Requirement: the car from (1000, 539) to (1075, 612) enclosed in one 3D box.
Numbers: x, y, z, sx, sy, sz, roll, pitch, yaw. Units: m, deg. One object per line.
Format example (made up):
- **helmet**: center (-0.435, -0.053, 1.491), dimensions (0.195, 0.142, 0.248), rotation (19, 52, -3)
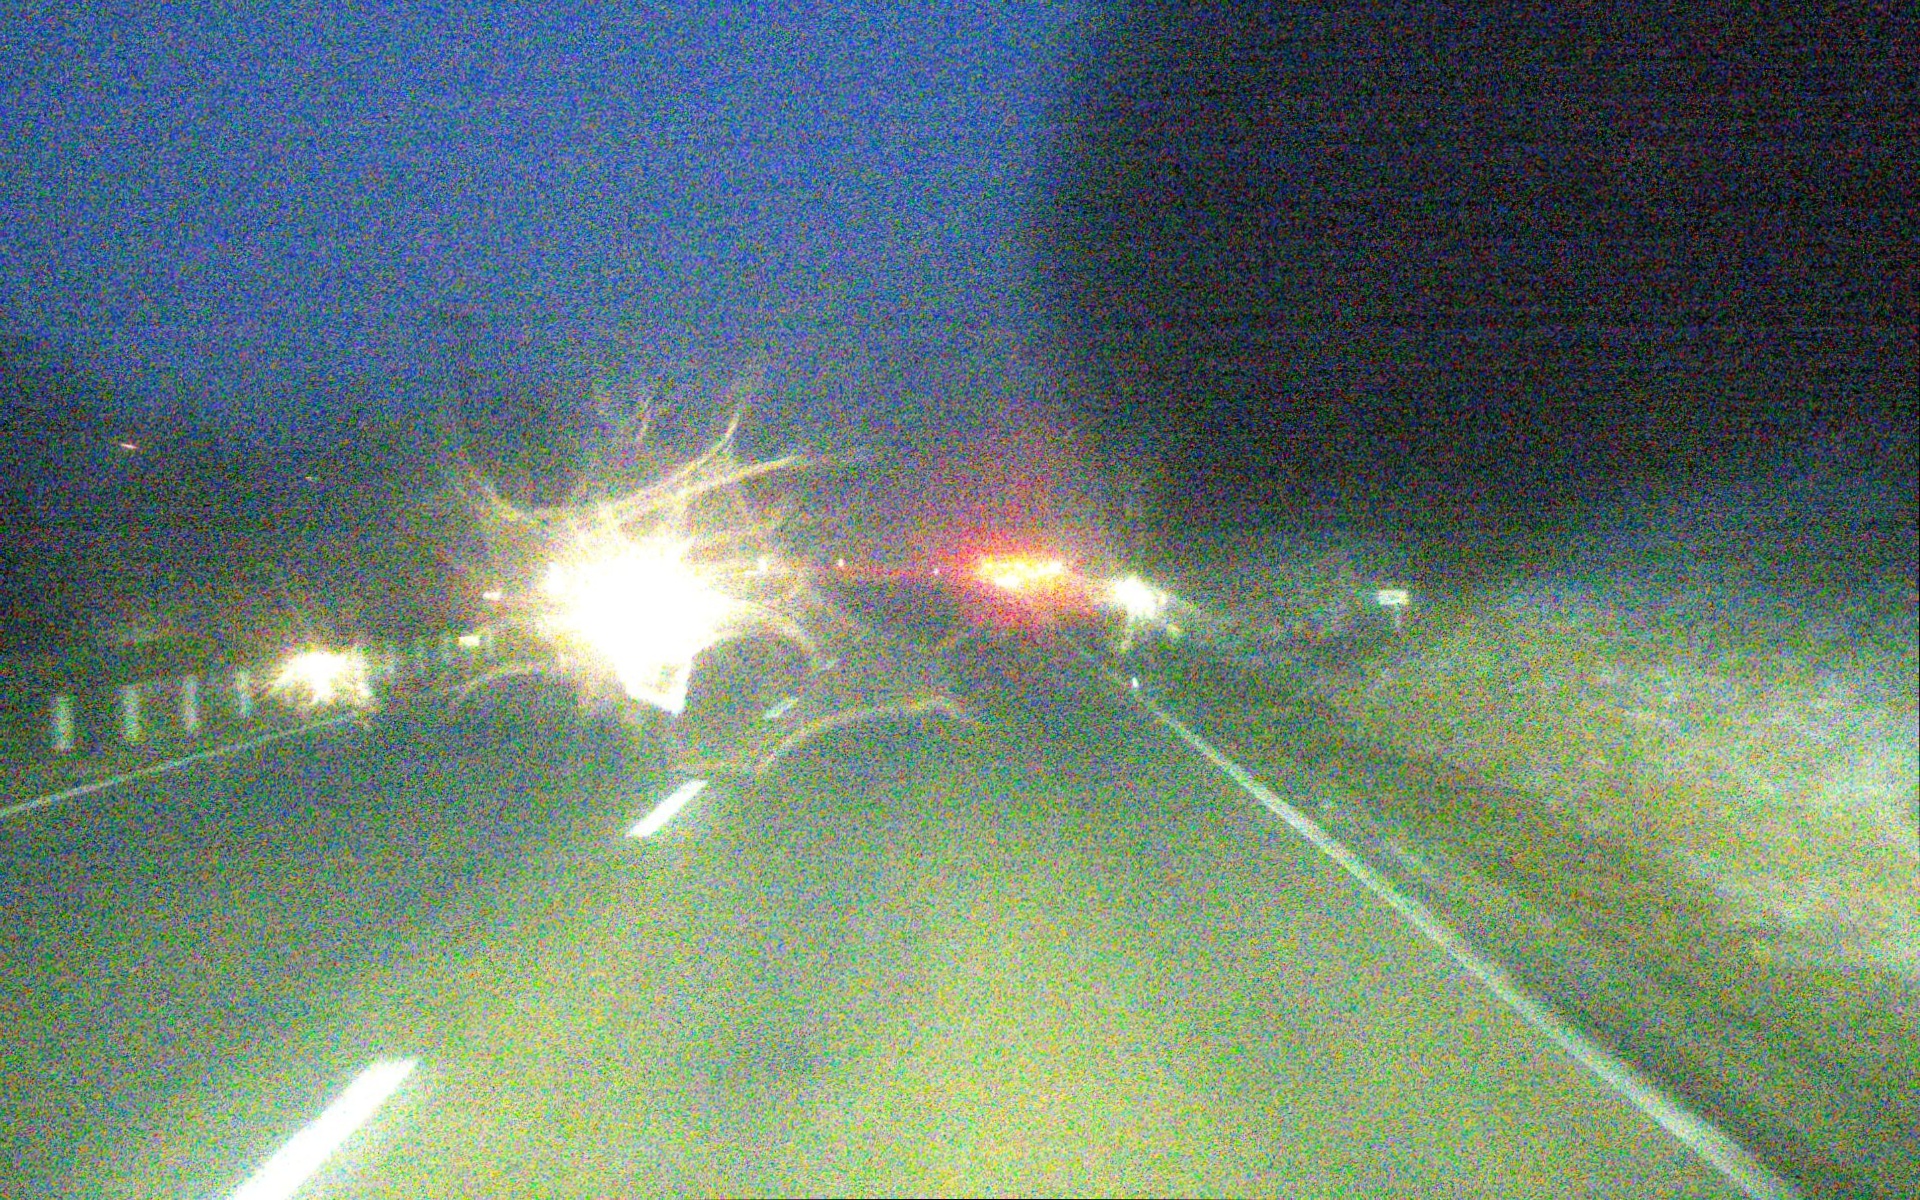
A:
- **car**: center (2.338, -0.725, 103.842), dimensions (2.197, 2.007, 4.206), rotation (1, -2, 1)
